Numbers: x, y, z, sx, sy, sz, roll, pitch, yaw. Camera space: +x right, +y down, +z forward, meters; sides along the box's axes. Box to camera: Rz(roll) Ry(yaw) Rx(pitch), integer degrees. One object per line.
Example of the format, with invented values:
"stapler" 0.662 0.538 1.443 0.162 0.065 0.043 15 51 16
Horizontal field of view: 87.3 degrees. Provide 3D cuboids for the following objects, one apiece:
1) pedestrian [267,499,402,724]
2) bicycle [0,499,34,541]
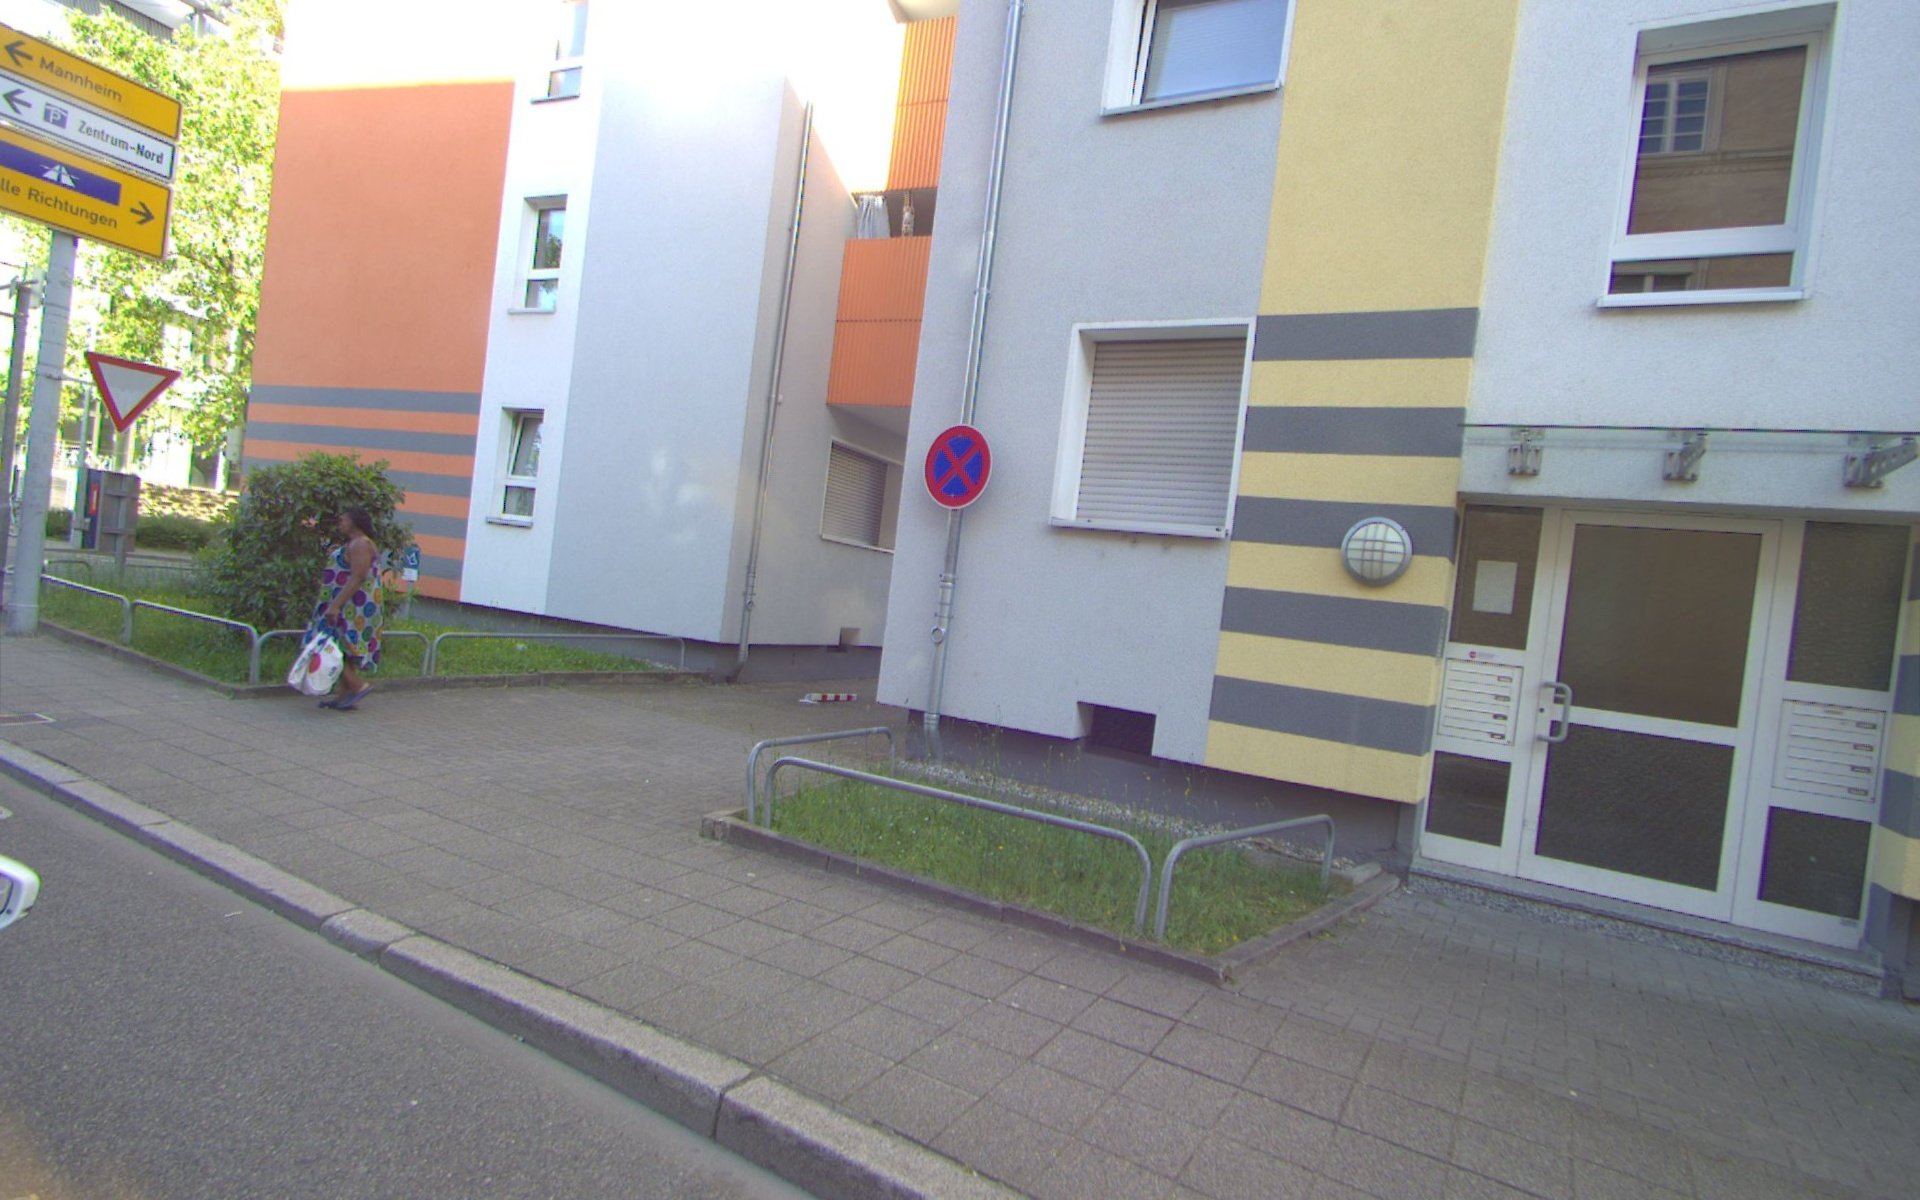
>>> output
"pedestrian" -4.794 0.070 7.711 0.743 1.594 0.948 4 4 -34
"bicycle" -26.415 -2.252 27.278 1.883 1.062 0.463 7 1 -10
